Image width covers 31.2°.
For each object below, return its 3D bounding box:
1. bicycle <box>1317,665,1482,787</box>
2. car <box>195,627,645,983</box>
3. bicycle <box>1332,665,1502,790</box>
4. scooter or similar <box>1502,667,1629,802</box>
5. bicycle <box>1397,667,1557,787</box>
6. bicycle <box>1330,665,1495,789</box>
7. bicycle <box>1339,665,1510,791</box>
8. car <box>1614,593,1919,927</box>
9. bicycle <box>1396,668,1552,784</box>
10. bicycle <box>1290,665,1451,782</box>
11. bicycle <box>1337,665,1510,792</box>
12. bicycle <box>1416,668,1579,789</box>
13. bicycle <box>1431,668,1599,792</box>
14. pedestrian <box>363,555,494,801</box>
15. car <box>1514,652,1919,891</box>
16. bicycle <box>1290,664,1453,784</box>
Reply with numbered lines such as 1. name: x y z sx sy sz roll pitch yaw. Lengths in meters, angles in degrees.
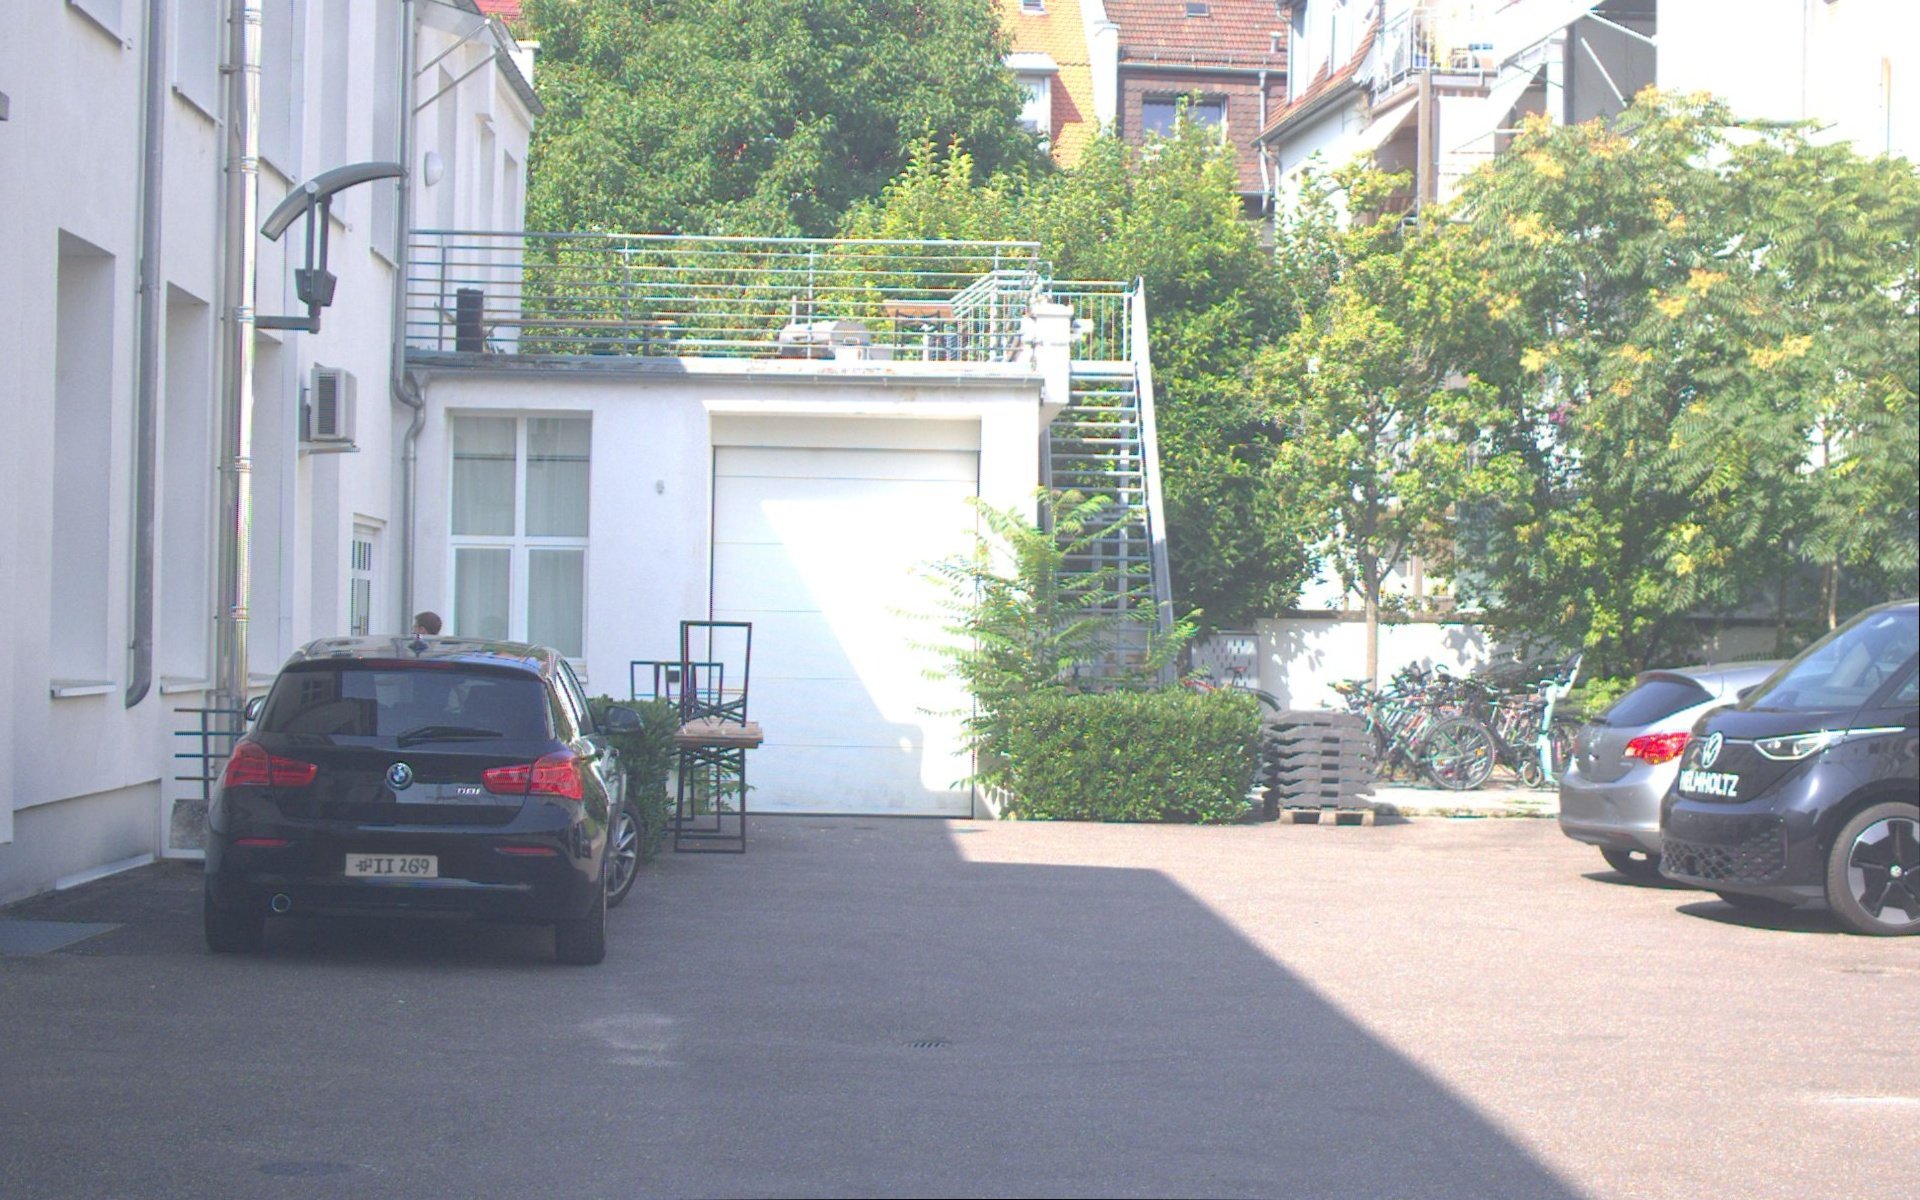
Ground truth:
1. bicycle: 4.436 1.267 34.698 1.624 1.210 0.327 0 -1 12
2. car: -2.447 0.899 16.422 1.688 1.454 3.923 2 -1 -3
3. bicycle: 4.500 1.252 33.884 1.623 1.210 0.327 0 -1 0
4. scooter or similar: 5.817 1.278 33.047 0.378 1.256 1.349 1 -1 -33
5. bicycle: 5.371 1.312 35.687 1.624 1.210 0.424 0 -1 11
6. bicycle: 4.524 1.262 34.335 1.623 1.210 0.327 0 -1 9
7. bicycle: 4.537 1.248 33.591 1.623 1.210 0.327 0 -1 0
8. car: 6.241 0.913 19.726 4.499 1.788 1.883 1 -2 -10
9. bicycle: 5.487 1.335 36.715 1.624 1.210 0.424 0 -1 11
10. bicycle: 4.298 1.289 36.007 1.623 1.210 0.424 0 -1 -7
11. bicycle: 4.479 1.240 33.268 1.623 1.210 0.327 0 -1 0
12. bicycle: 5.487 1.304 35.112 1.624 1.210 0.424 0 -1 12
13. bicycle: 5.530 1.288 34.253 1.624 1.210 0.327 0 -1 14
14. pedestrian: -4.442 0.651 28.794 0.913 2.007 0.935 2 -1 -1
15. car: 5.828 1.117 22.601 3.931 1.477 1.775 1 -2 -10
16. bicycle: 4.230 1.275 35.371 1.623 1.210 0.424 0 -1 -2
